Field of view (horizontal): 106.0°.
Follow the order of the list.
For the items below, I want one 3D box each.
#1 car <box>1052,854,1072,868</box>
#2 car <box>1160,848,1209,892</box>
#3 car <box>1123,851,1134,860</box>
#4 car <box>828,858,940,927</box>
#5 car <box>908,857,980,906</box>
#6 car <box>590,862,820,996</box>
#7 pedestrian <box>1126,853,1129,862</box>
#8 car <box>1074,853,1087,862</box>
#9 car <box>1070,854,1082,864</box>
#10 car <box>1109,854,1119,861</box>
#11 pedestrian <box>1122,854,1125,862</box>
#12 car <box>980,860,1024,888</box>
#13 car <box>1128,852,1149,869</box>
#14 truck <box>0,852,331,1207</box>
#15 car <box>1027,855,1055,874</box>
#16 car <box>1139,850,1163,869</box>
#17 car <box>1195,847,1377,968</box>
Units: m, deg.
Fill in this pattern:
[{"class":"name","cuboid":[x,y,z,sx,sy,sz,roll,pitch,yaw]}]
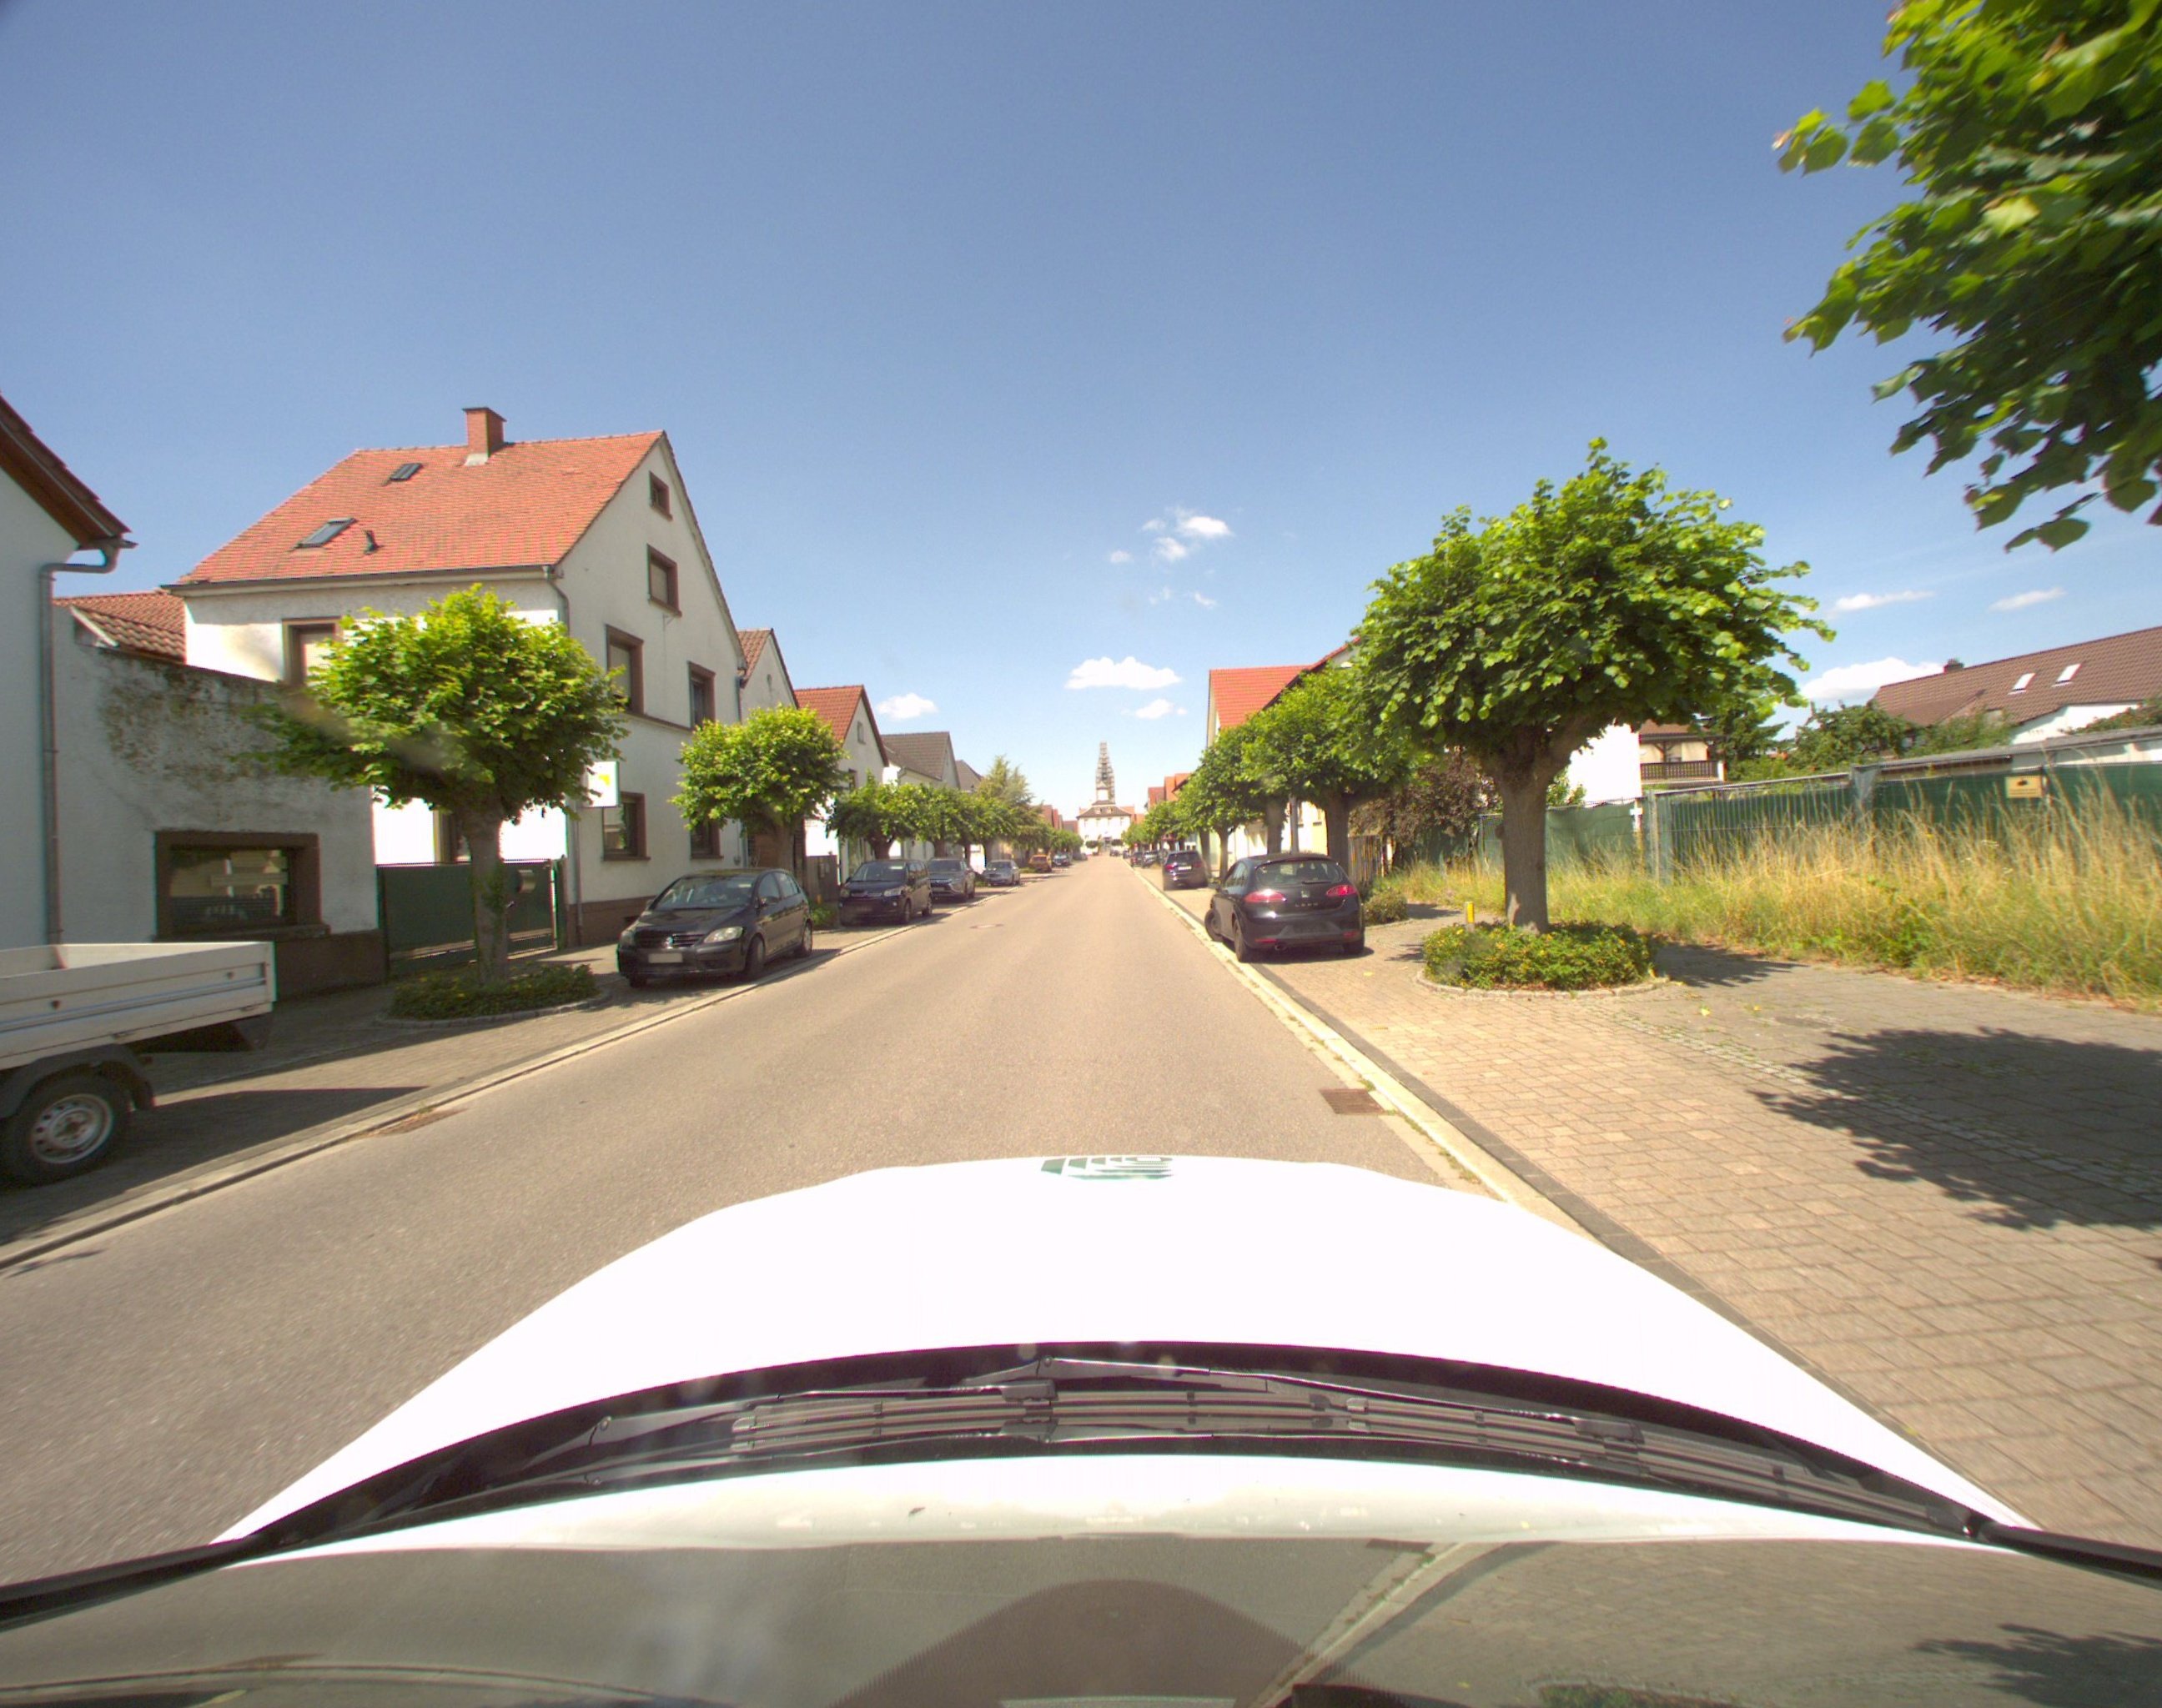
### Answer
[{"class":"car","cuboid":[-2.183,0.824,96.300,1.985,1.611,4.693,-1,1,3]},{"class":"car","cuboid":[4.244,0.618,33.719,1.815,1.586,4.064,-4,0,6]},{"class":"car","cuboid":[8.442,0.258,144.627,1.830,1.555,4.316,-4,0,3]},{"class":"car","cuboid":[-5.077,0.944,21.578,1.846,1.635,4.058,-1,-1,2]},{"class":"car","cuboid":[-5.044,0.960,30.545,1.988,1.652,4.365,-1,0,-1]},{"class":"car","cuboid":[-5.409,0.972,12.345,1.782,1.634,3.995,-1,0,-3]},{"class":"pedestrian","cuboid":[7.518,0.631,131.504,0.354,1.403,0.322,-3,0,39]},{"class":"car","cuboid":[-0.076,0.642,144.925,1.985,1.611,3.858,-1,-1,3]},{"class":"car","cuboid":[-0.793,0.909,139.195,1.750,1.555,4.023,-3,0,3]},{"class":"car","cuboid":[7.157,0.698,176.390,1.718,1.547,3.467,-1,-1,12]},{"class":"pedestrian","cuboid":[6.868,0.637,131.254,0.354,1.403,0.322,-3,0,39]},{"class":"car","cuboid":[-4.279,1.080,44.972,1.834,1.396,4.408,-2,0,2]},{"class":"car","cuboid":[5.796,0.623,81.792,1.830,1.555,4.315,-4,0,2]},{"class":"truck","cuboid":[-6.185,0.877,3.698,1.570,1.765,4.194,0,0,2]},{"class":"car","cuboid":[-3.597,0.939,74.337,1.985,1.611,4.693,-1,0,3]},{"class":"car","cuboid":[6.322,0.480,74.148,1.831,1.607,4.000,-2,0,1]},{"class":"car","cuboid":[2.935,0.684,12.553,1.817,1.432,4.059,-5,0,2]}]
